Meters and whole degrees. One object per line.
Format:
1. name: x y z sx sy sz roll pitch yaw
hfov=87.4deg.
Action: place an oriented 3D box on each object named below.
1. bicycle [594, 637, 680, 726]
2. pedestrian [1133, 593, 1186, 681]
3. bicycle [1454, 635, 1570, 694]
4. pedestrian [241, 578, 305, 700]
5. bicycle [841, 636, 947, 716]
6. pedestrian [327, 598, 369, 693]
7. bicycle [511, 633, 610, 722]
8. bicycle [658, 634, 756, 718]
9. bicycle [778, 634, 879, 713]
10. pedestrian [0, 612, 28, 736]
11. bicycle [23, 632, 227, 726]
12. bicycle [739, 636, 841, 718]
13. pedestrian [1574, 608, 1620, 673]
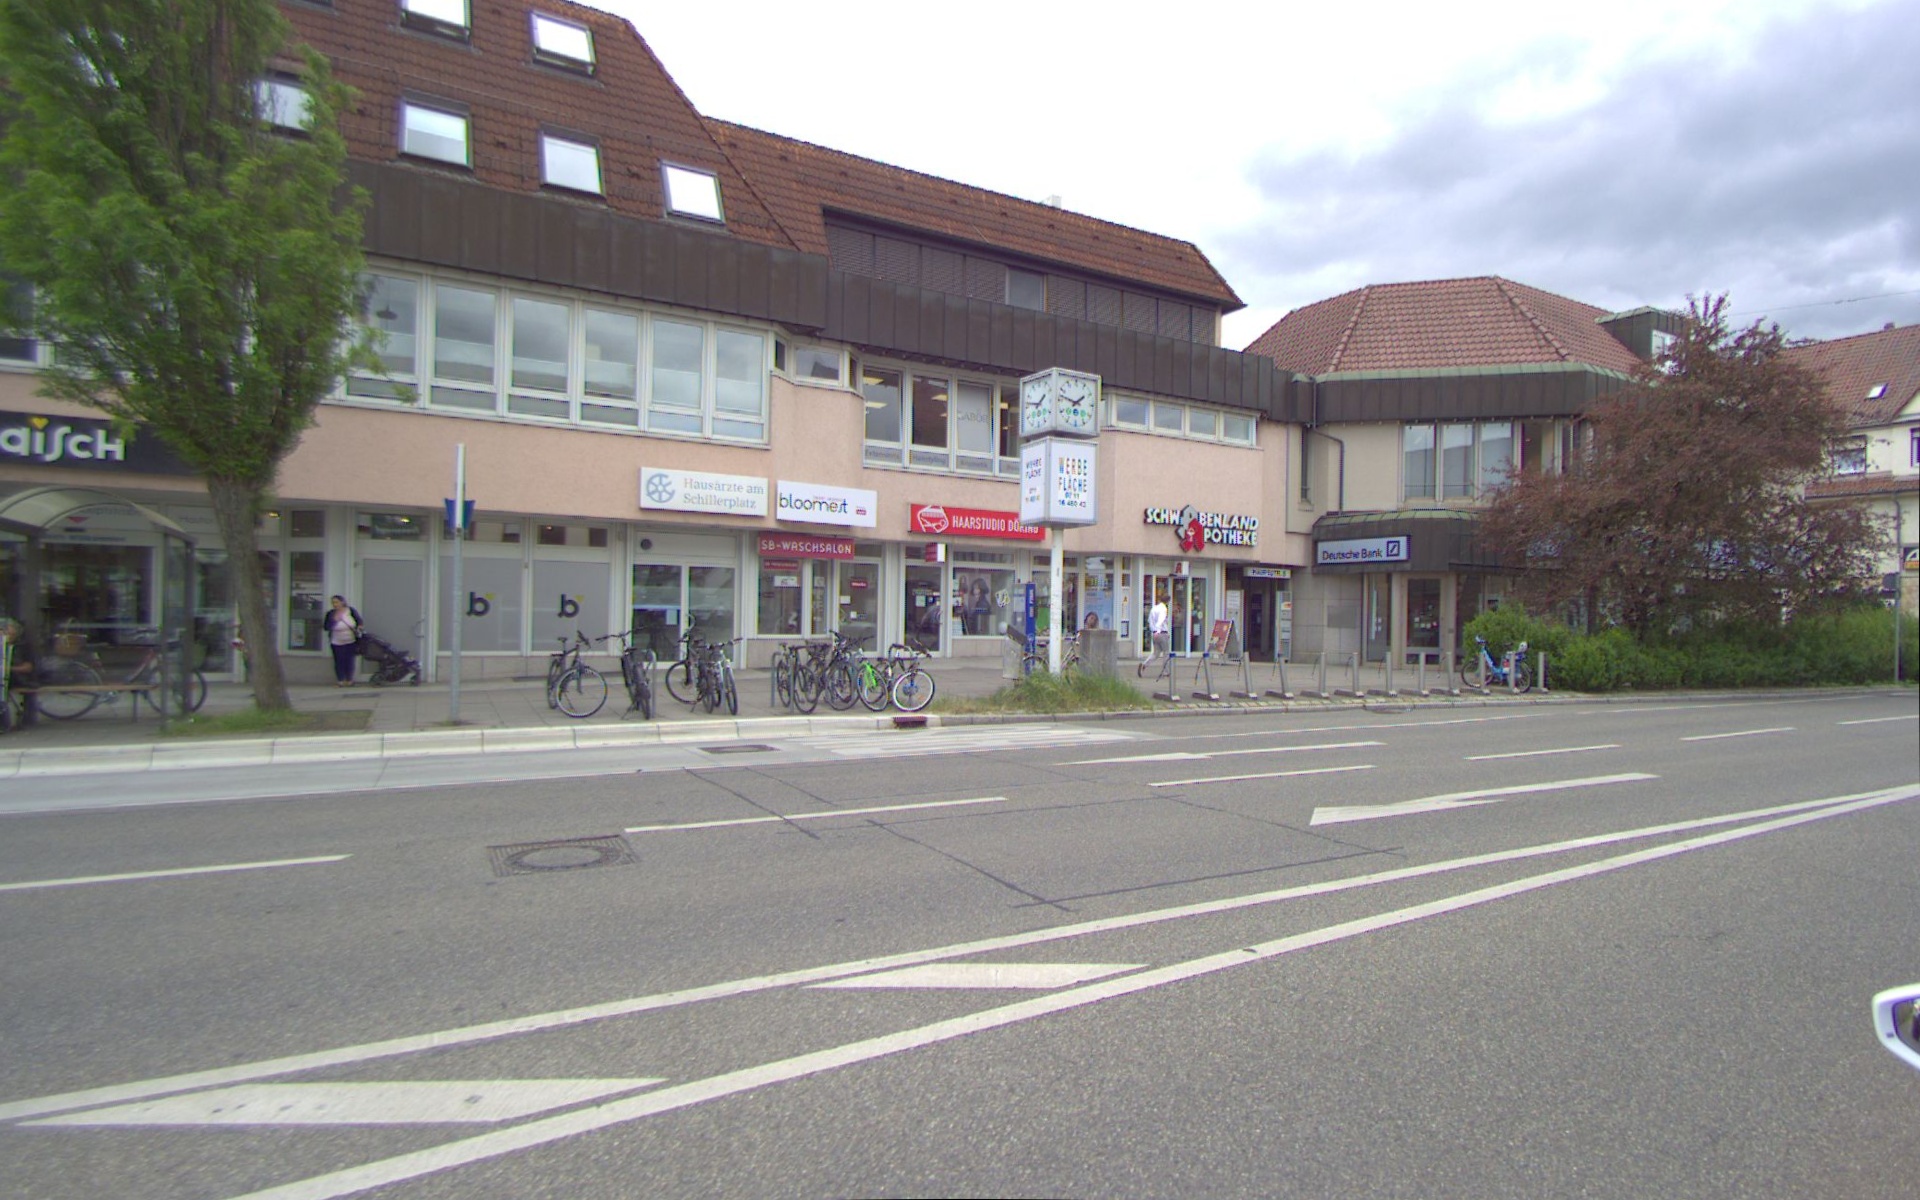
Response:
1. bicycle: -4.554 1.094 14.086 0.642 1.105 2.006 1 -1 -33
2. pedestrian: 4.180 0.759 21.062 0.747 1.788 0.722 0 3 -31
3. bicycle: 11.317 1.303 20.648 0.643 1.105 2.002 1 -1 -38
4. pedestrian: -10.408 0.571 15.246 0.747 1.788 0.722 0 3 -31
5. bicycle: -1.054 1.137 15.595 0.643 1.105 2.002 1 -1 -38
6. pedestrian: -10.353 0.748 17.013 0.581 1.568 0.708 0 1 -30
7. bicycle: -5.724 1.066 14.336 0.644 1.105 1.999 1 0 -42
8. bicycle: -3.759 1.078 14.810 0.643 1.105 2.002 1 -1 -38
9. bicycle: -2.081 1.106 15.655 0.643 1.105 2.002 1 -1 -38
10. pedestrian: -11.120 0.830 11.422 0.580 1.382 0.709 0 1 -27
11. bicycle: -10.500 0.963 12.715 1.909 1.105 0.530 1 0 -31
12. bicycle: -2.594 1.117 15.158 0.643 1.105 2.002 1 -1 -38
13. pedestrian: 18.097 1.140 28.536 0.745 1.788 0.723 1 4 -25
